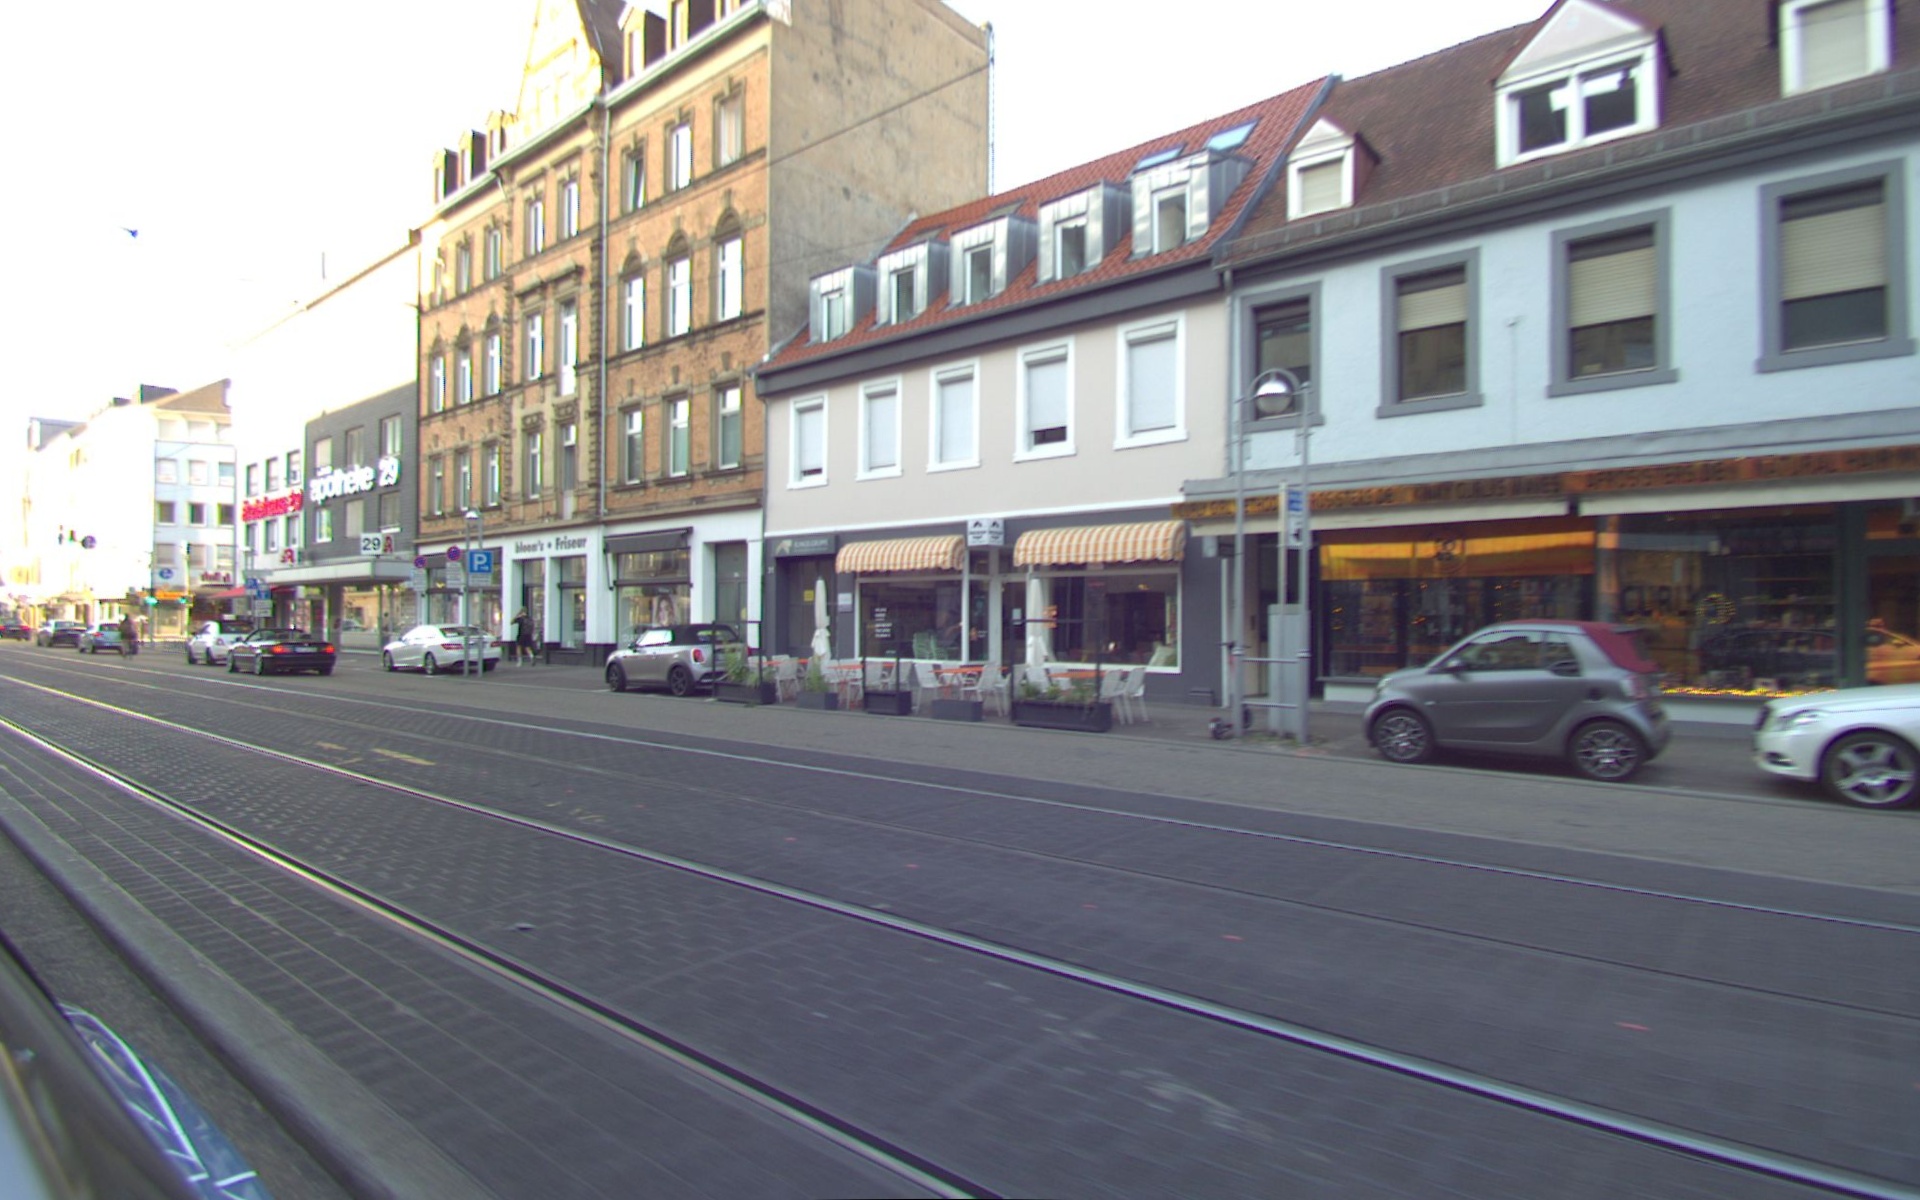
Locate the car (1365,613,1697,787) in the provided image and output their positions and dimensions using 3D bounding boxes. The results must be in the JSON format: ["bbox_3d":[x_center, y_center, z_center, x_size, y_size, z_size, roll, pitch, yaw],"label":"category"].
[{"bbox_3d":[5.986,0.935,10.702,2.810,1.516,1.575,-1,1,40],"label":"car"}]

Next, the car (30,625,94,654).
[{"bbox_3d":[-46.377,2.016,52.243,4.561,1.397,1.894,-1,-4,42],"label":"car"}]

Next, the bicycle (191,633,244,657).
[{"bbox_3d":[-33.842,2.044,46.151,0.607,0.991,1.837,-1,1,40],"label":"bicycle"}]

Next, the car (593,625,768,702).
[{"bbox_3d":[-5.961,1.265,21.379,3.863,1.400,1.716,-1,1,41],"label":"car"}]

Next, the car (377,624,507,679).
[{"bbox_3d":[-15.063,1.443,29.354,4.269,1.400,1.742,-1,1,39],"label":"car"}]

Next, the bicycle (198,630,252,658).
[{"bbox_3d":[-32.793,1.958,45.194,0.607,1.143,1.837,-1,1,40],"label":"bicycle"}]

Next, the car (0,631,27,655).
[{"bbox_3d":[-59.037,2.645,62.242,4.561,1.397,1.894,-1,-4,42],"label":"car"}]

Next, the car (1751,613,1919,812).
[{"bbox_3d":[9.264,0.888,7.853,4.839,1.516,1.830,-1,1,41],"label":"car"}]

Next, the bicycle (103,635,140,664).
[{"bbox_3d":[-31.426,1.832,37.901,2.080,1.042,0.686,-1,-2,40],"label":"bicycle"}]

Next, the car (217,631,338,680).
[{"bbox_3d":[-18.999,1.522,28.107,4.271,1.237,1.650,-1,-4,41],"label":"car"}]

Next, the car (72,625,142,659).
[{"bbox_3d":[-38.135,1.870,45.217,4.059,1.397,1.740,-1,-4,42],"label":"car"}]

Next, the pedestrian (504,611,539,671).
[{"bbox_3d":[-13.231,1.228,30.526,0.854,1.786,0.641,-1,0,41],"label":"pedestrian"}]

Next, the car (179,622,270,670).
[{"bbox_3d":[-24.994,1.548,34.359,3.678,1.517,1.650,-1,-4,41],"label":"car"}]

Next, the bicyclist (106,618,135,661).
[{"bbox_3d":[-31.463,1.469,37.940,0.798,1.577,0.686,-1,-2,39],"label":"bicyclist"}]

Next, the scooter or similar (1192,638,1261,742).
[{"bbox_3d":[3.449,1.133,13.044,0.294,1.214,1.300,-1,0,41],"label":"scooter or similar"}]
